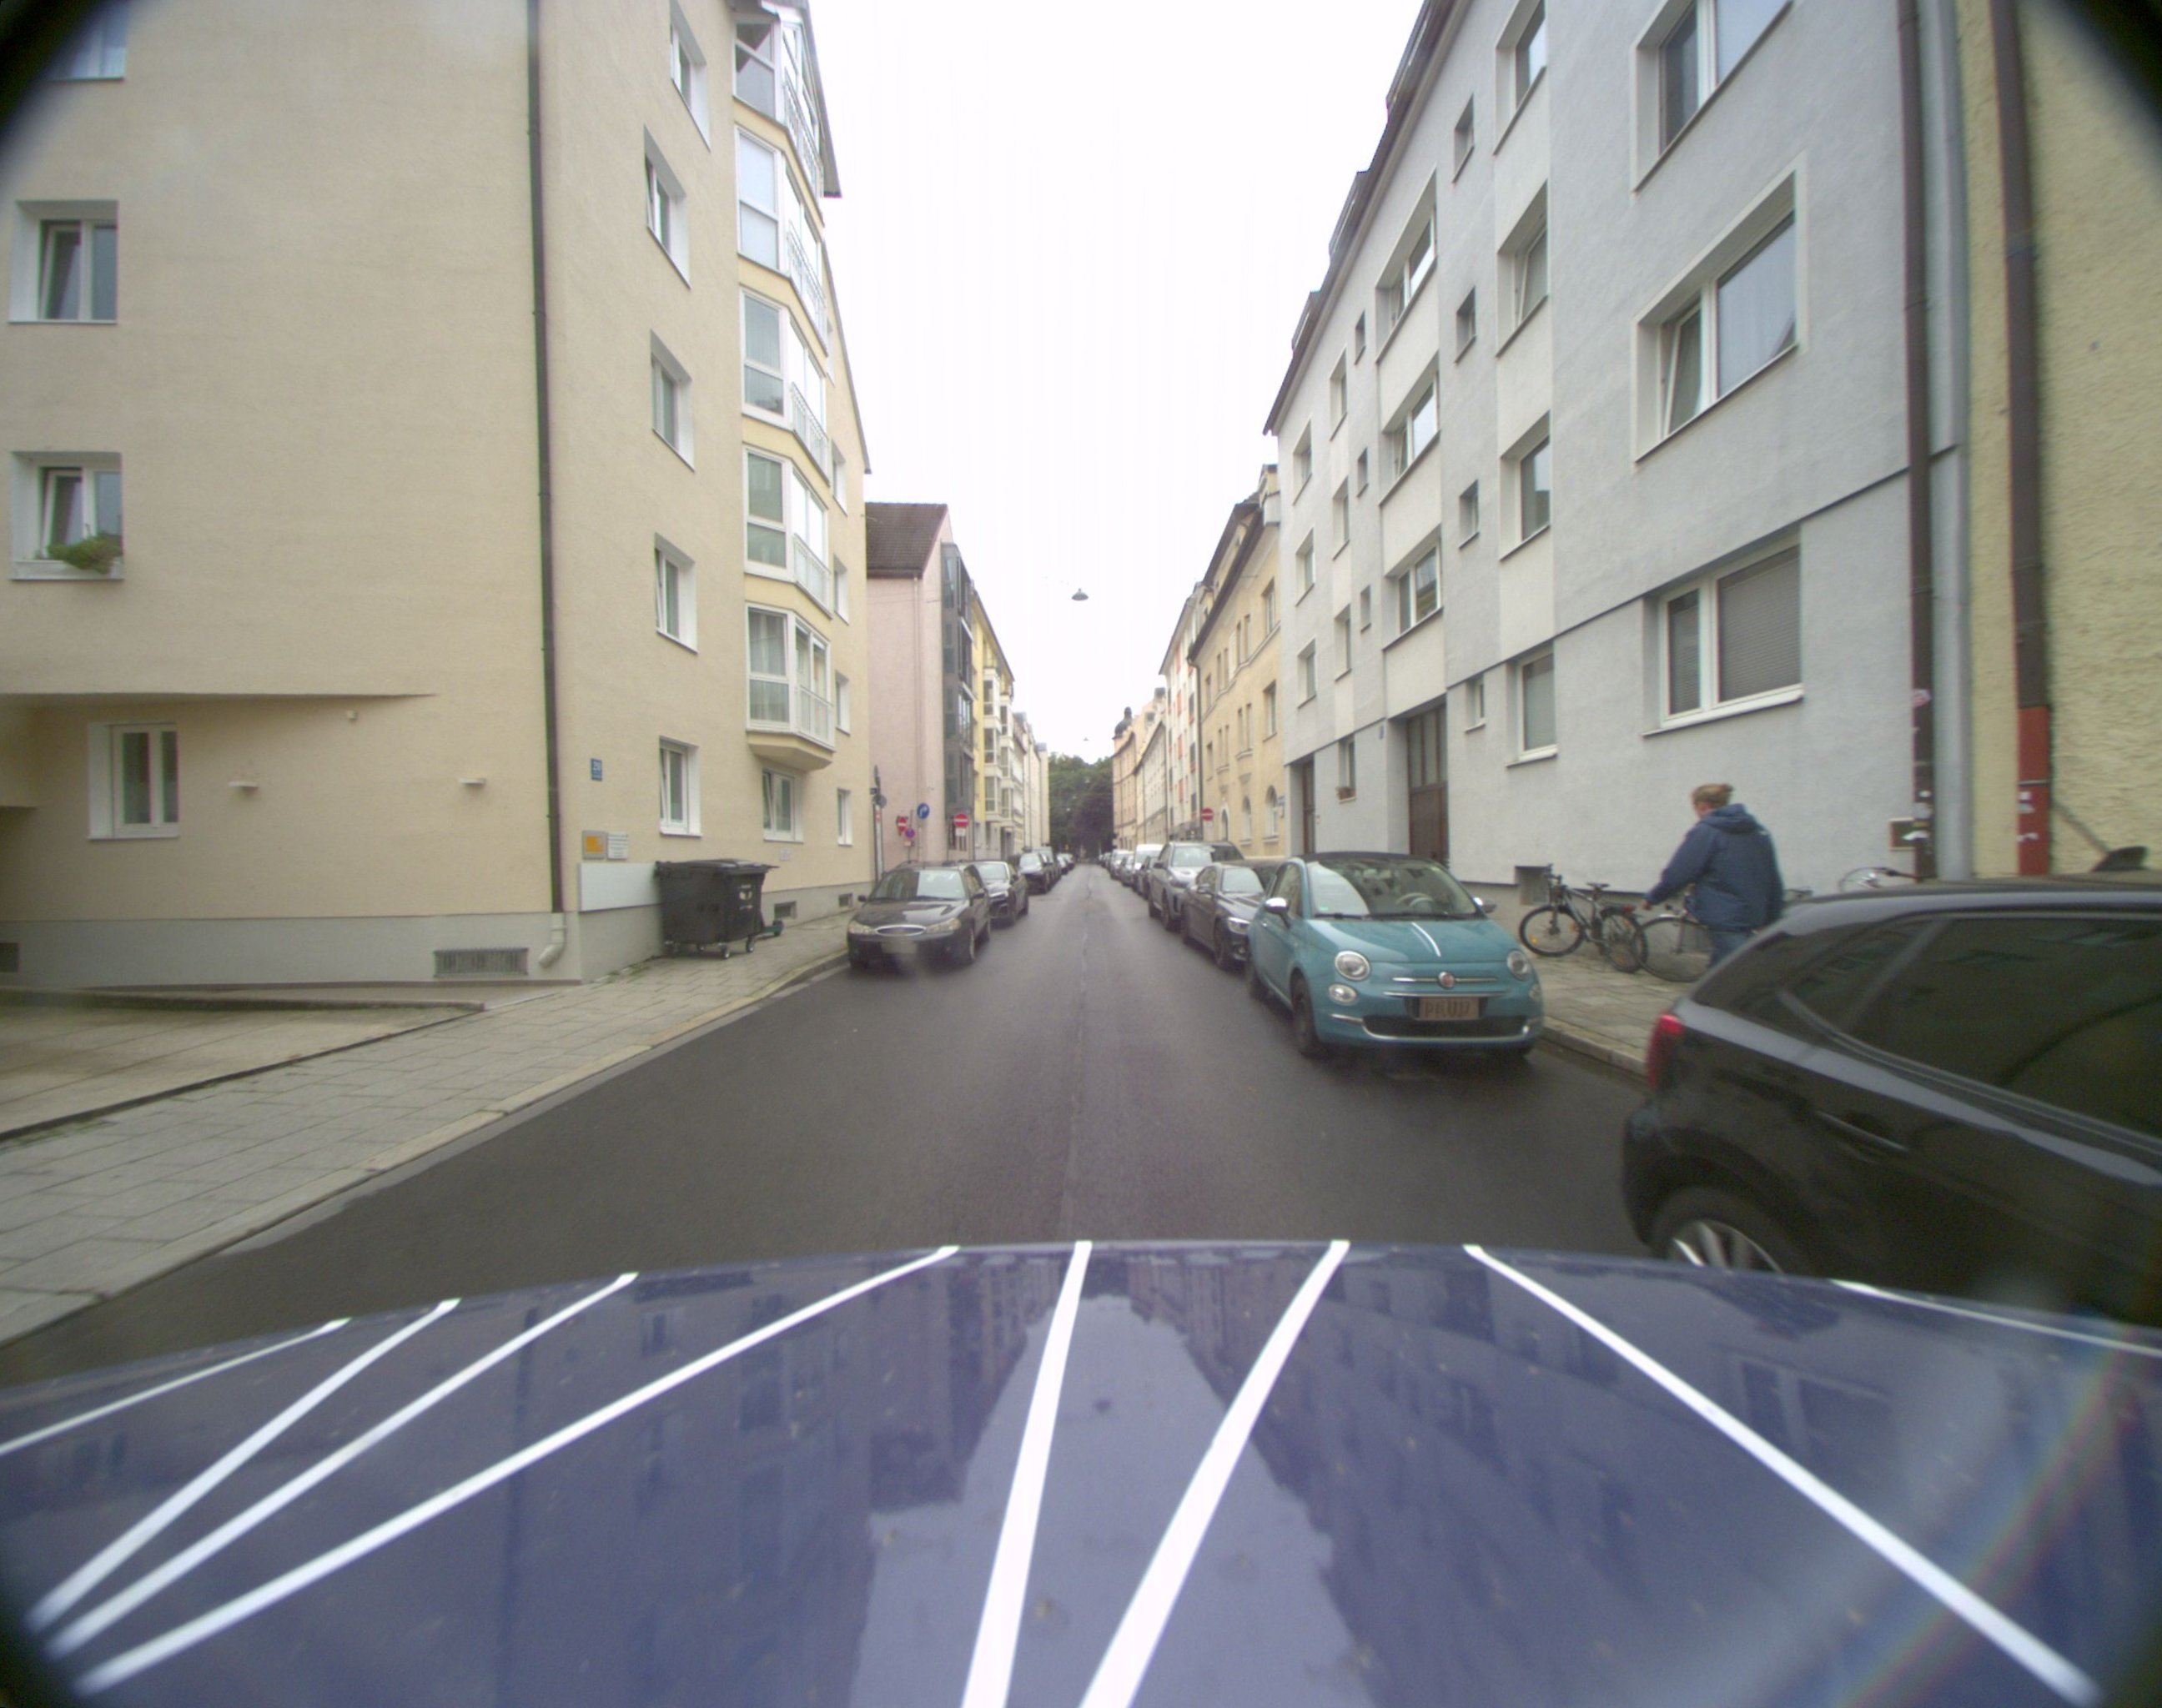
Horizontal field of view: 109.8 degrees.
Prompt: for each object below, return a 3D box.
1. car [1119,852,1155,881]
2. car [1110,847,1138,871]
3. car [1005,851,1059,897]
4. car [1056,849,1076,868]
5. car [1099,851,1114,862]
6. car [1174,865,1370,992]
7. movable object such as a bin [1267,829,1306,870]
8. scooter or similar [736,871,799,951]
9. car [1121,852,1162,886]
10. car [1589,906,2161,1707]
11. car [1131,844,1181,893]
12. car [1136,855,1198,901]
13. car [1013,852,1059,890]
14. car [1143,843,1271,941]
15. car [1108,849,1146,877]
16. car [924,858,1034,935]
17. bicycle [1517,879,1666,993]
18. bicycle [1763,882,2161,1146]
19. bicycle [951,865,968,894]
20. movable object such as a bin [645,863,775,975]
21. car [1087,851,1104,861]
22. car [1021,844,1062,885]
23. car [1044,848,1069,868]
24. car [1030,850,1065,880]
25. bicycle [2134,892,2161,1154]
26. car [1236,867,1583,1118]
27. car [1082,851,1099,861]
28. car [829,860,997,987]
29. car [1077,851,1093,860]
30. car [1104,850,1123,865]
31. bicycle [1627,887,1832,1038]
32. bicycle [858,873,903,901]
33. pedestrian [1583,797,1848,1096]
[{"bbox_3d":[2.937,0.632,40.148,1.632,1.467,3.841,1,0,0],"label":"car"},{"bbox_3d":[3.324,0.361,59.966,1.951,1.850,4.908,1,0,1],"label":"car"},{"bbox_3d":[-1.896,0.748,30.794,1.837,1.612,4.410,-3,1,0],"label":"car"},{"bbox_3d":[-1.451,0.444,74.956,1.739,1.743,3.685,-3,0,0],"label":"car"},{"bbox_3d":[3.468,0.376,103.693,1.951,1.470,3.979,1,0,1],"label":"car"},{"bbox_3d":[2.557,0.933,11.276,1.816,1.378,4.250,1,1,0],"label":"car"},{"bbox_3d":[5.665,-0.129,20.953,0.809,1.045,0.623,-5,1,0],"label":"movable object such as a bin"},{"bbox_3d":[-5.261,0.930,12.823,0.577,1.259,1.136,0,1,1],"label":"scooter or similar"},{"bbox_3d":[2.776,0.655,35.387,1.676,1.467,4.112,1,0,1],"label":"car"},{"bbox_3d":[2.365,0.910,0.477,1.567,1.452,3.763,-1,1,0],"label":"car"},{"bbox_3d":[2.905,0.513,30.251,1.728,1.779,4.248,1,1,2],"label":"car"},{"bbox_3d":[2.771,0.749,25.124,1.656,1.403,3.735,1,0,0],"label":"car"},{"bbox_3d":[-2.058,0.750,35.978,1.837,1.612,4.323,-3,1,0],"label":"car"},{"bbox_3d":[2.493,0.662,16.205,1.867,1.760,4.734,1,1,-1],"label":"car"},{"bbox_3d":[2.676,0.507,45.167,1.786,1.596,4.307,1,0,-3],"label":"car"},{"bbox_3d":[-2.189,0.864,17.537,1.837,1.398,4.410,-3,1,0],"label":"car"},{"bbox_3d":[5.418,0.824,8.171,0.546,1.025,1.570,-2,1,1],"label":"bicycle"},{"bbox_3d":[5.297,0.839,4.682,0.638,1.226,1.736,-2,1,1],"label":"bicycle"},{"bbox_3d":[-4.866,1.021,30.515,0.358,1.115,1.543,-1,0,1],"label":"bicycle"},{"bbox_3d":[-5.170,0.854,10.716,1.034,1.415,1.586,1,1,1],"label":"movable object such as a bin"},{"bbox_3d":[2.183,0.296,113.292,1.800,1.501,3.996,1,0,-10],"label":"car"},{"bbox_3d":[-2.098,0.489,41.548,1.878,2.002,5.105,-3,1,0],"label":"car"},{"bbox_3d":[-1.963,0.325,60.086,1.749,1.433,4.227,-3,0,-3],"label":"car"},{"bbox_3d":[-2.022,0.640,46.885,1.837,1.676,4.228,-3,1,1],"label":"car"},{"bbox_3d":[5.351,0.799,2.782,0.594,1.226,1.736,-2,1,0],"label":"bicycle"},{"bbox_3d":[2.363,0.884,6.376,1.566,1.452,3.404,-1,1,3],"label":"car"},{"bbox_3d":[1.420,0.242,117.489,1.800,1.501,3.996,1,0,-10],"label":"car"},{"bbox_3d":[-2.395,0.911,11.998,1.721,1.463,4.530,-3,1,-2],"label":"car"},{"bbox_3d":[0.589,0.228,121.591,1.800,1.501,3.996,1,0,-10],"label":"car"},{"bbox_3d":[3.542,0.356,82.484,1.951,1.470,3.979,1,0,1],"label":"car"},{"bbox_3d":[5.374,0.837,6.421,0.396,1.025,1.570,-2,1,1],"label":"bicycle"},{"bbox_3d":[-7.172,1.163,27.168,1.452,0.942,0.552,-1,0,-4],"label":"bicycle"},{"bbox_3d":[4.132,0.553,5.058,0.841,1.754,1.068,-2,1,1],"label":"pedestrian"}]
